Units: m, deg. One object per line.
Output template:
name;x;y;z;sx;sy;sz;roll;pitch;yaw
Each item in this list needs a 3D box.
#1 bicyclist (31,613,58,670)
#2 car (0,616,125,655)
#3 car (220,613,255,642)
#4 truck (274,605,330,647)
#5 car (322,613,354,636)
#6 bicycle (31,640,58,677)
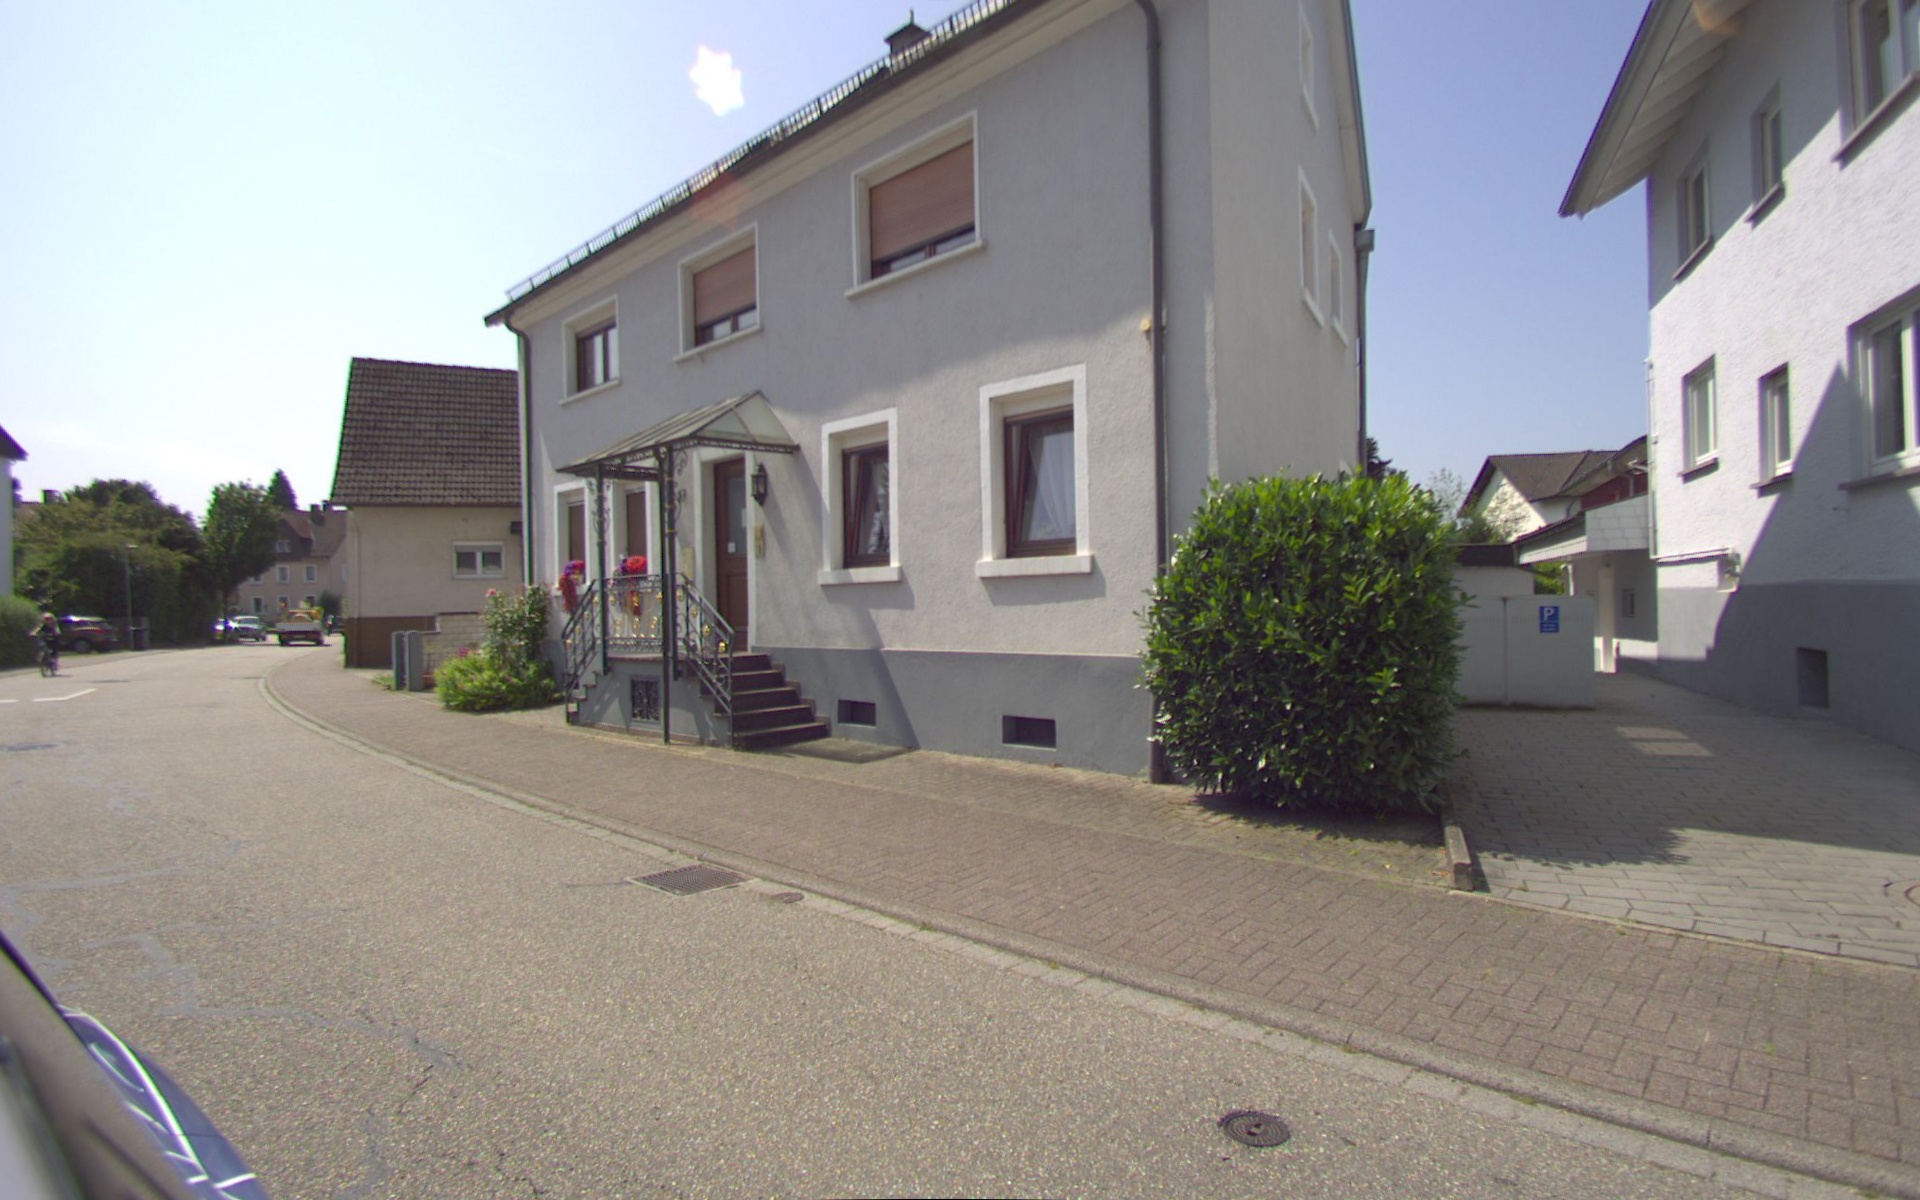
bicyclist;-24.698;1.111;27.297;0.539;1.501;0.798;0;-1;-43
car;-40.151;1.556;45.032;4.218;1.684;2.072;0;-1;-25
car;-47.261;1.798;66.254;1.753;1.855;3.911;0;-1;-34
truck;-36.447;1.416;56.176;2.230;2.151;6.786;0;-1;-30
car;-52.770;2.066;85.917;1.965;1.955;4.013;0;-1;-27
bicycle;-24.541;1.558;27.132;0.514;0.911;1.314;0;-1;-43
